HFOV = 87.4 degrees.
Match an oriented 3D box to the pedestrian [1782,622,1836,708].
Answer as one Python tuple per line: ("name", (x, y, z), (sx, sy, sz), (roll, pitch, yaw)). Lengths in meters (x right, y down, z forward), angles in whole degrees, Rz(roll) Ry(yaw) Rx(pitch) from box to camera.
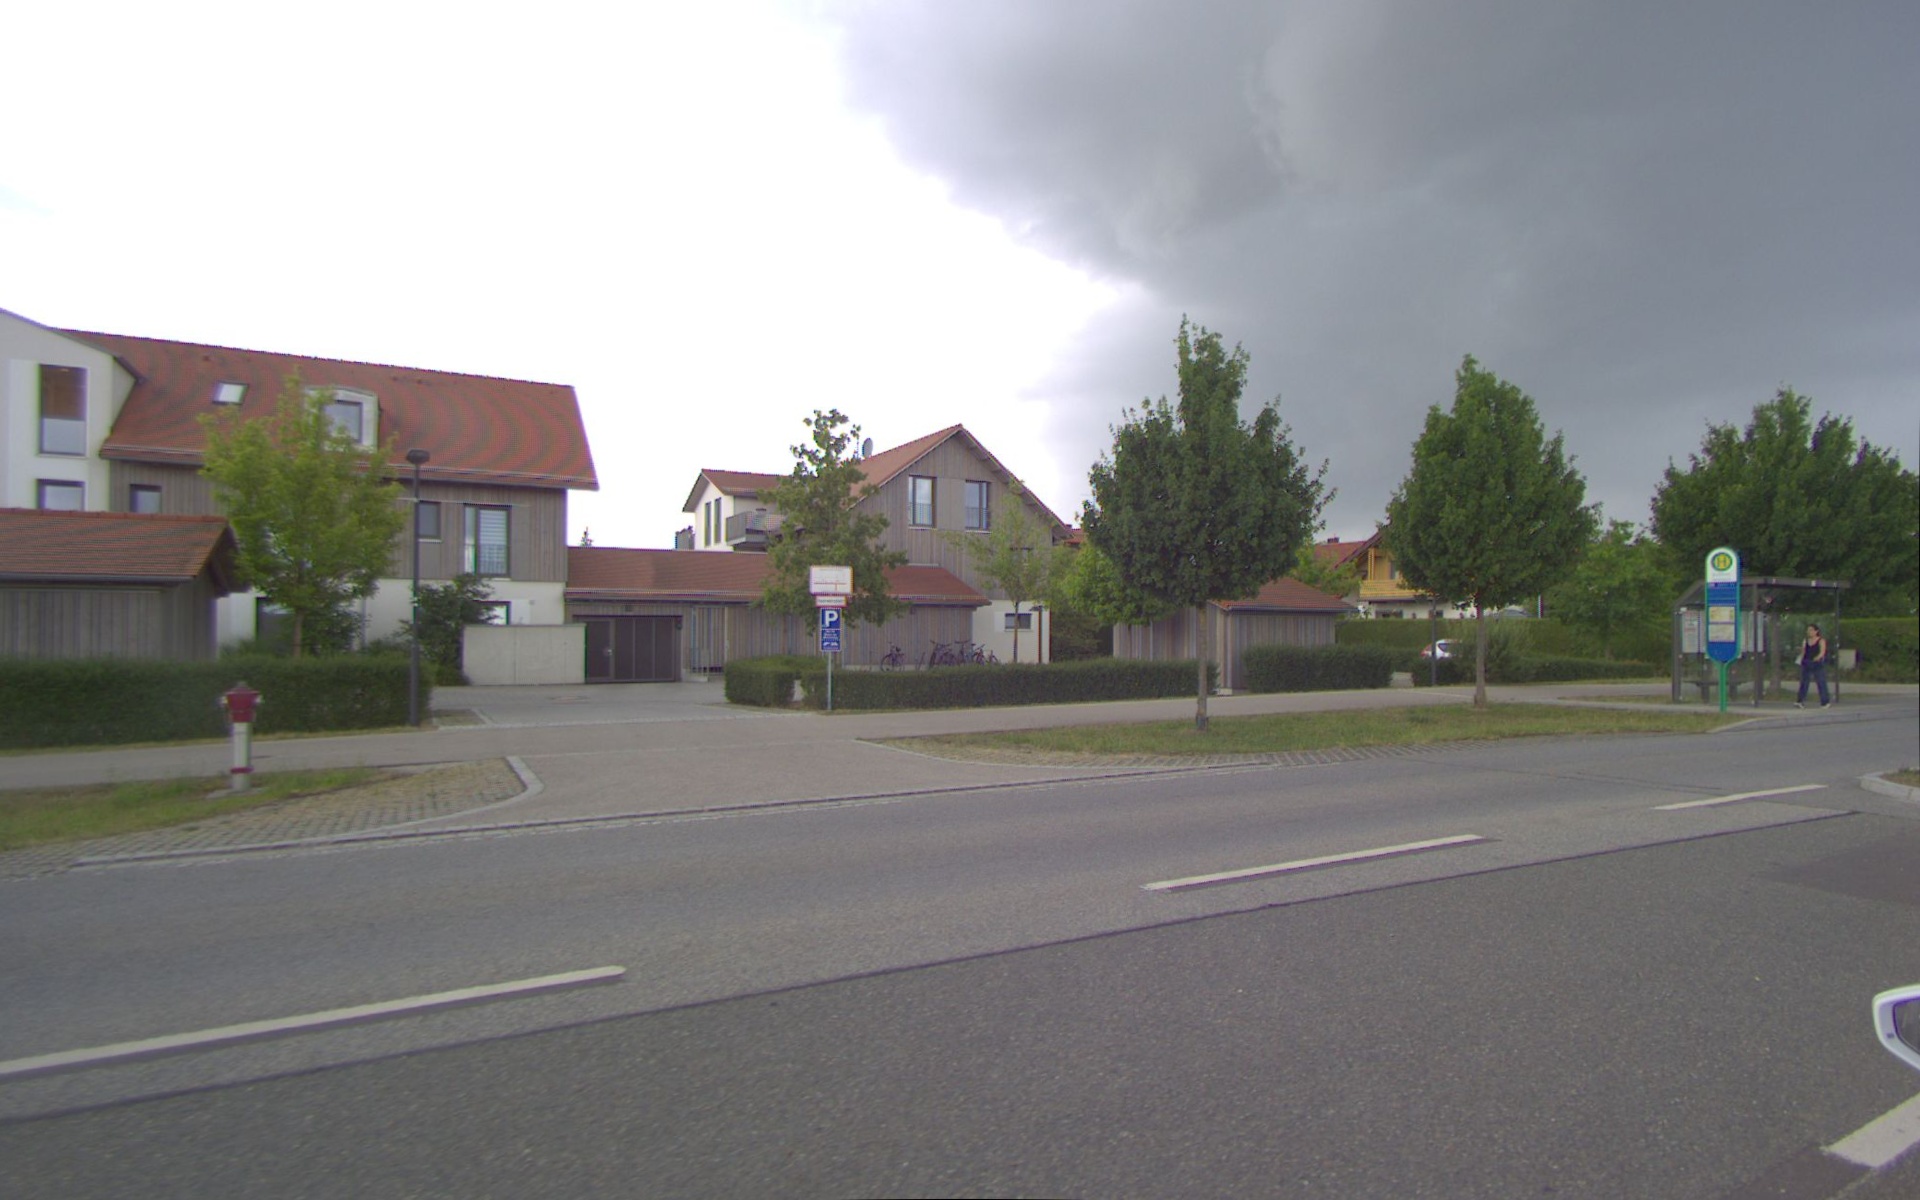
("pedestrian", (16.723, 1.264, 19.787), (0.803, 1.658, 0.585), (1, -1, -30))

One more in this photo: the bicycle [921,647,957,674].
("bicycle", (-0.770, 2.201, 36.778), (0.414, 0.921, 1.932), (1, -1, -31))

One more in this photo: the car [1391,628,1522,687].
("car", (18.424, 2.092, 37.444), (1.977, 2.040, 3.967), (1, -1, -31))

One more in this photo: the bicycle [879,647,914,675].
("bicycle", (-2.276, 2.168, 35.823), (0.414, 0.921, 1.932), (1, -1, -31))

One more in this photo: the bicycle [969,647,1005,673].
("bicycle", (1.007, 2.245, 37.811), (0.414, 0.921, 1.932), (1, -1, -31))

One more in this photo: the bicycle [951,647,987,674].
("bicycle", (0.327, 2.229, 37.431), (0.414, 0.921, 1.932), (1, -1, -31))
